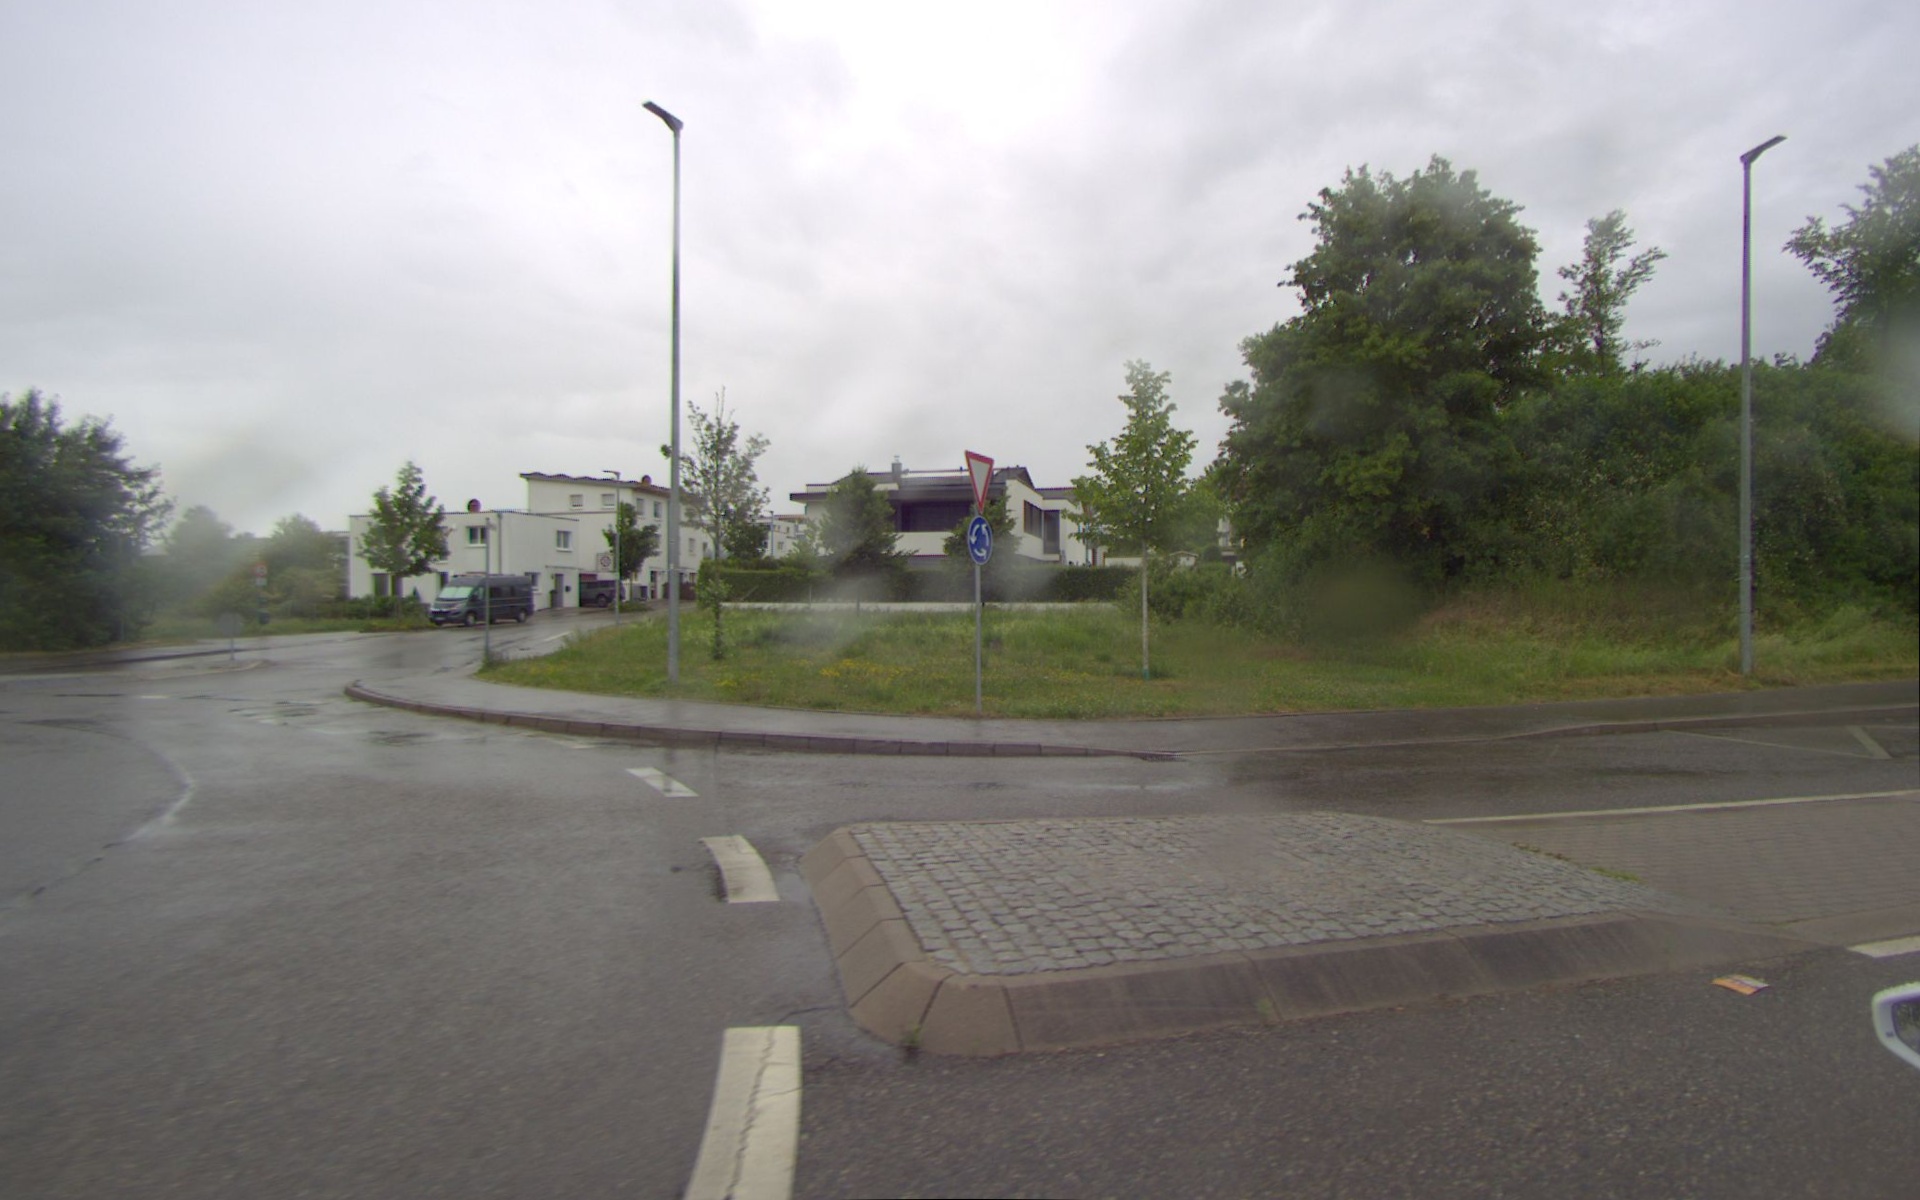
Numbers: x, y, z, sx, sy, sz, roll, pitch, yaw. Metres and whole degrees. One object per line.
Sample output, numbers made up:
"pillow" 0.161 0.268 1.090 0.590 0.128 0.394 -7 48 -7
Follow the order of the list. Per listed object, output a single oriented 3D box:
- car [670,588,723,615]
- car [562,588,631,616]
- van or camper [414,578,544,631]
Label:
"car" -20.799 0.133 79.251 3.640 2.040 1.756 0 0 7
"car" -25.056 0.166 69.280 4.128 1.865 1.792 0 0 6
"van or camper" -24.219 0.186 50.939 2.481 2.527 6.209 0 1 16
